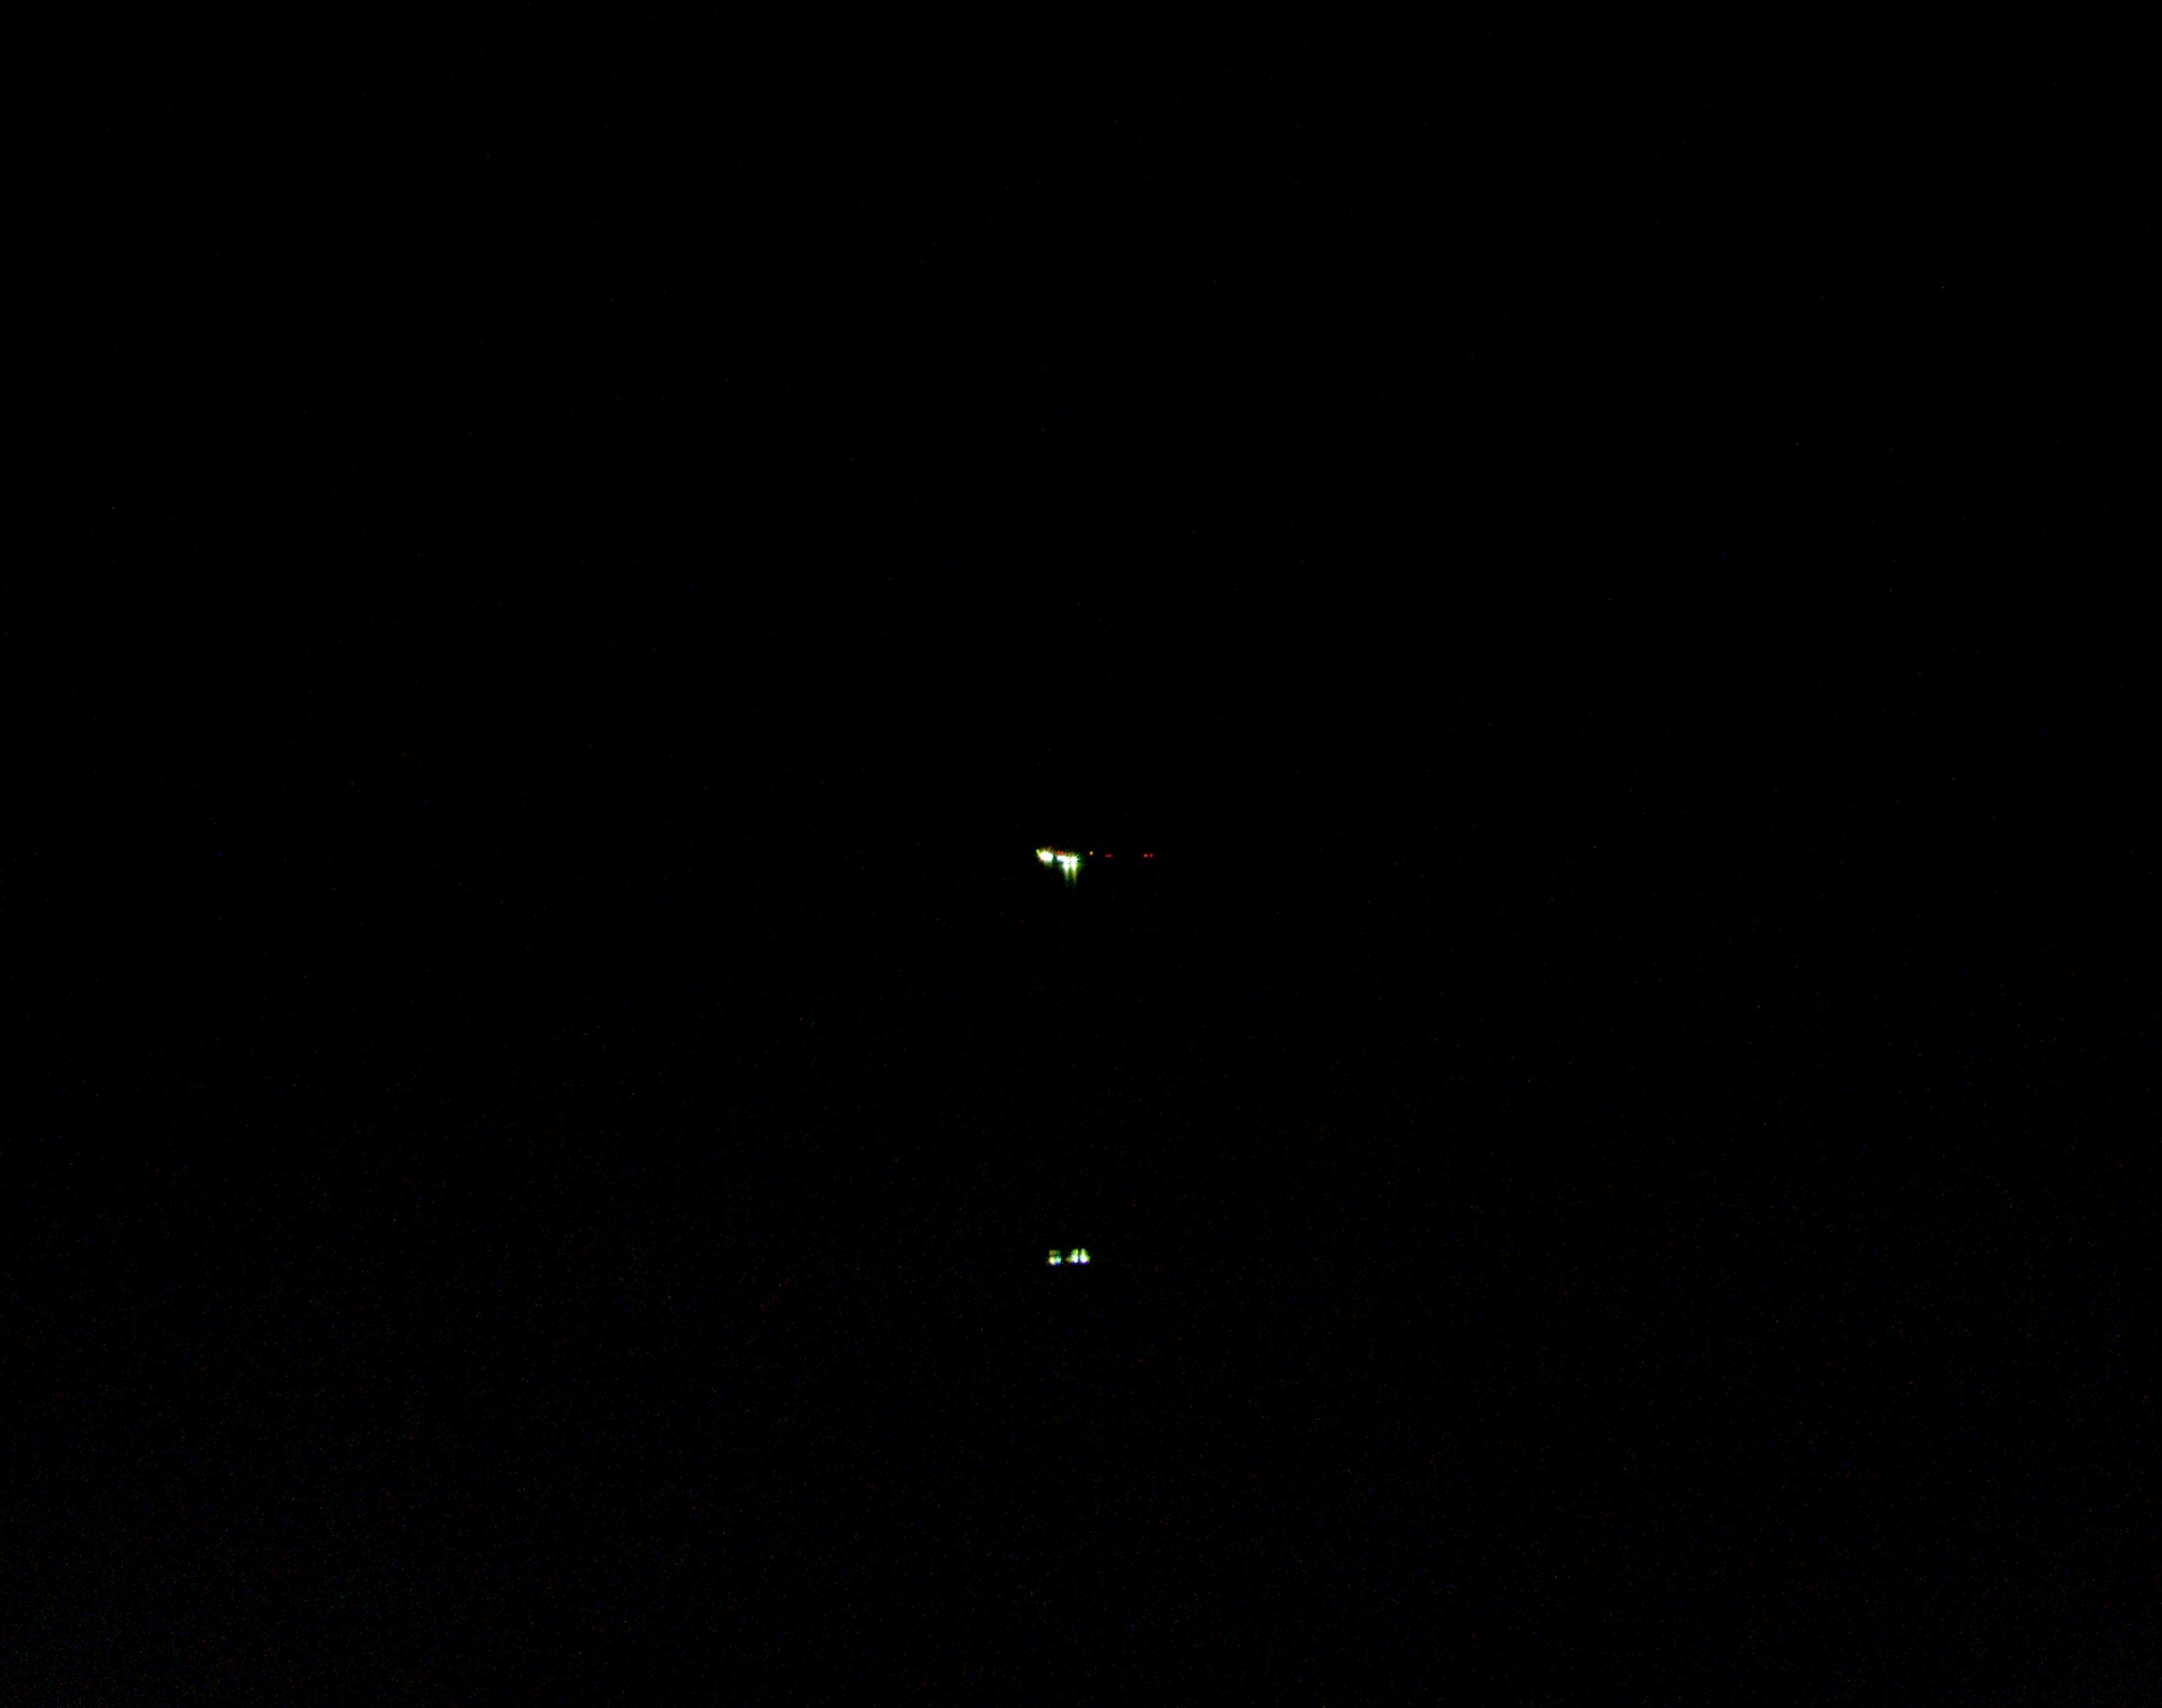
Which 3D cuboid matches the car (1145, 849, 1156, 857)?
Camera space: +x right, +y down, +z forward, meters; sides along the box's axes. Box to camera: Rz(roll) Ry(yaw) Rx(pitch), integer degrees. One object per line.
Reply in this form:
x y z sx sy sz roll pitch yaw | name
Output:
18.739 -0.353 205.089 2.032 2.001 5.186 -2 -1 -3 | car

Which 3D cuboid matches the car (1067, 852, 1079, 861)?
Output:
-1.454 0.447 135.972 2.154 1.558 4.580 -2 1 -2 | car
